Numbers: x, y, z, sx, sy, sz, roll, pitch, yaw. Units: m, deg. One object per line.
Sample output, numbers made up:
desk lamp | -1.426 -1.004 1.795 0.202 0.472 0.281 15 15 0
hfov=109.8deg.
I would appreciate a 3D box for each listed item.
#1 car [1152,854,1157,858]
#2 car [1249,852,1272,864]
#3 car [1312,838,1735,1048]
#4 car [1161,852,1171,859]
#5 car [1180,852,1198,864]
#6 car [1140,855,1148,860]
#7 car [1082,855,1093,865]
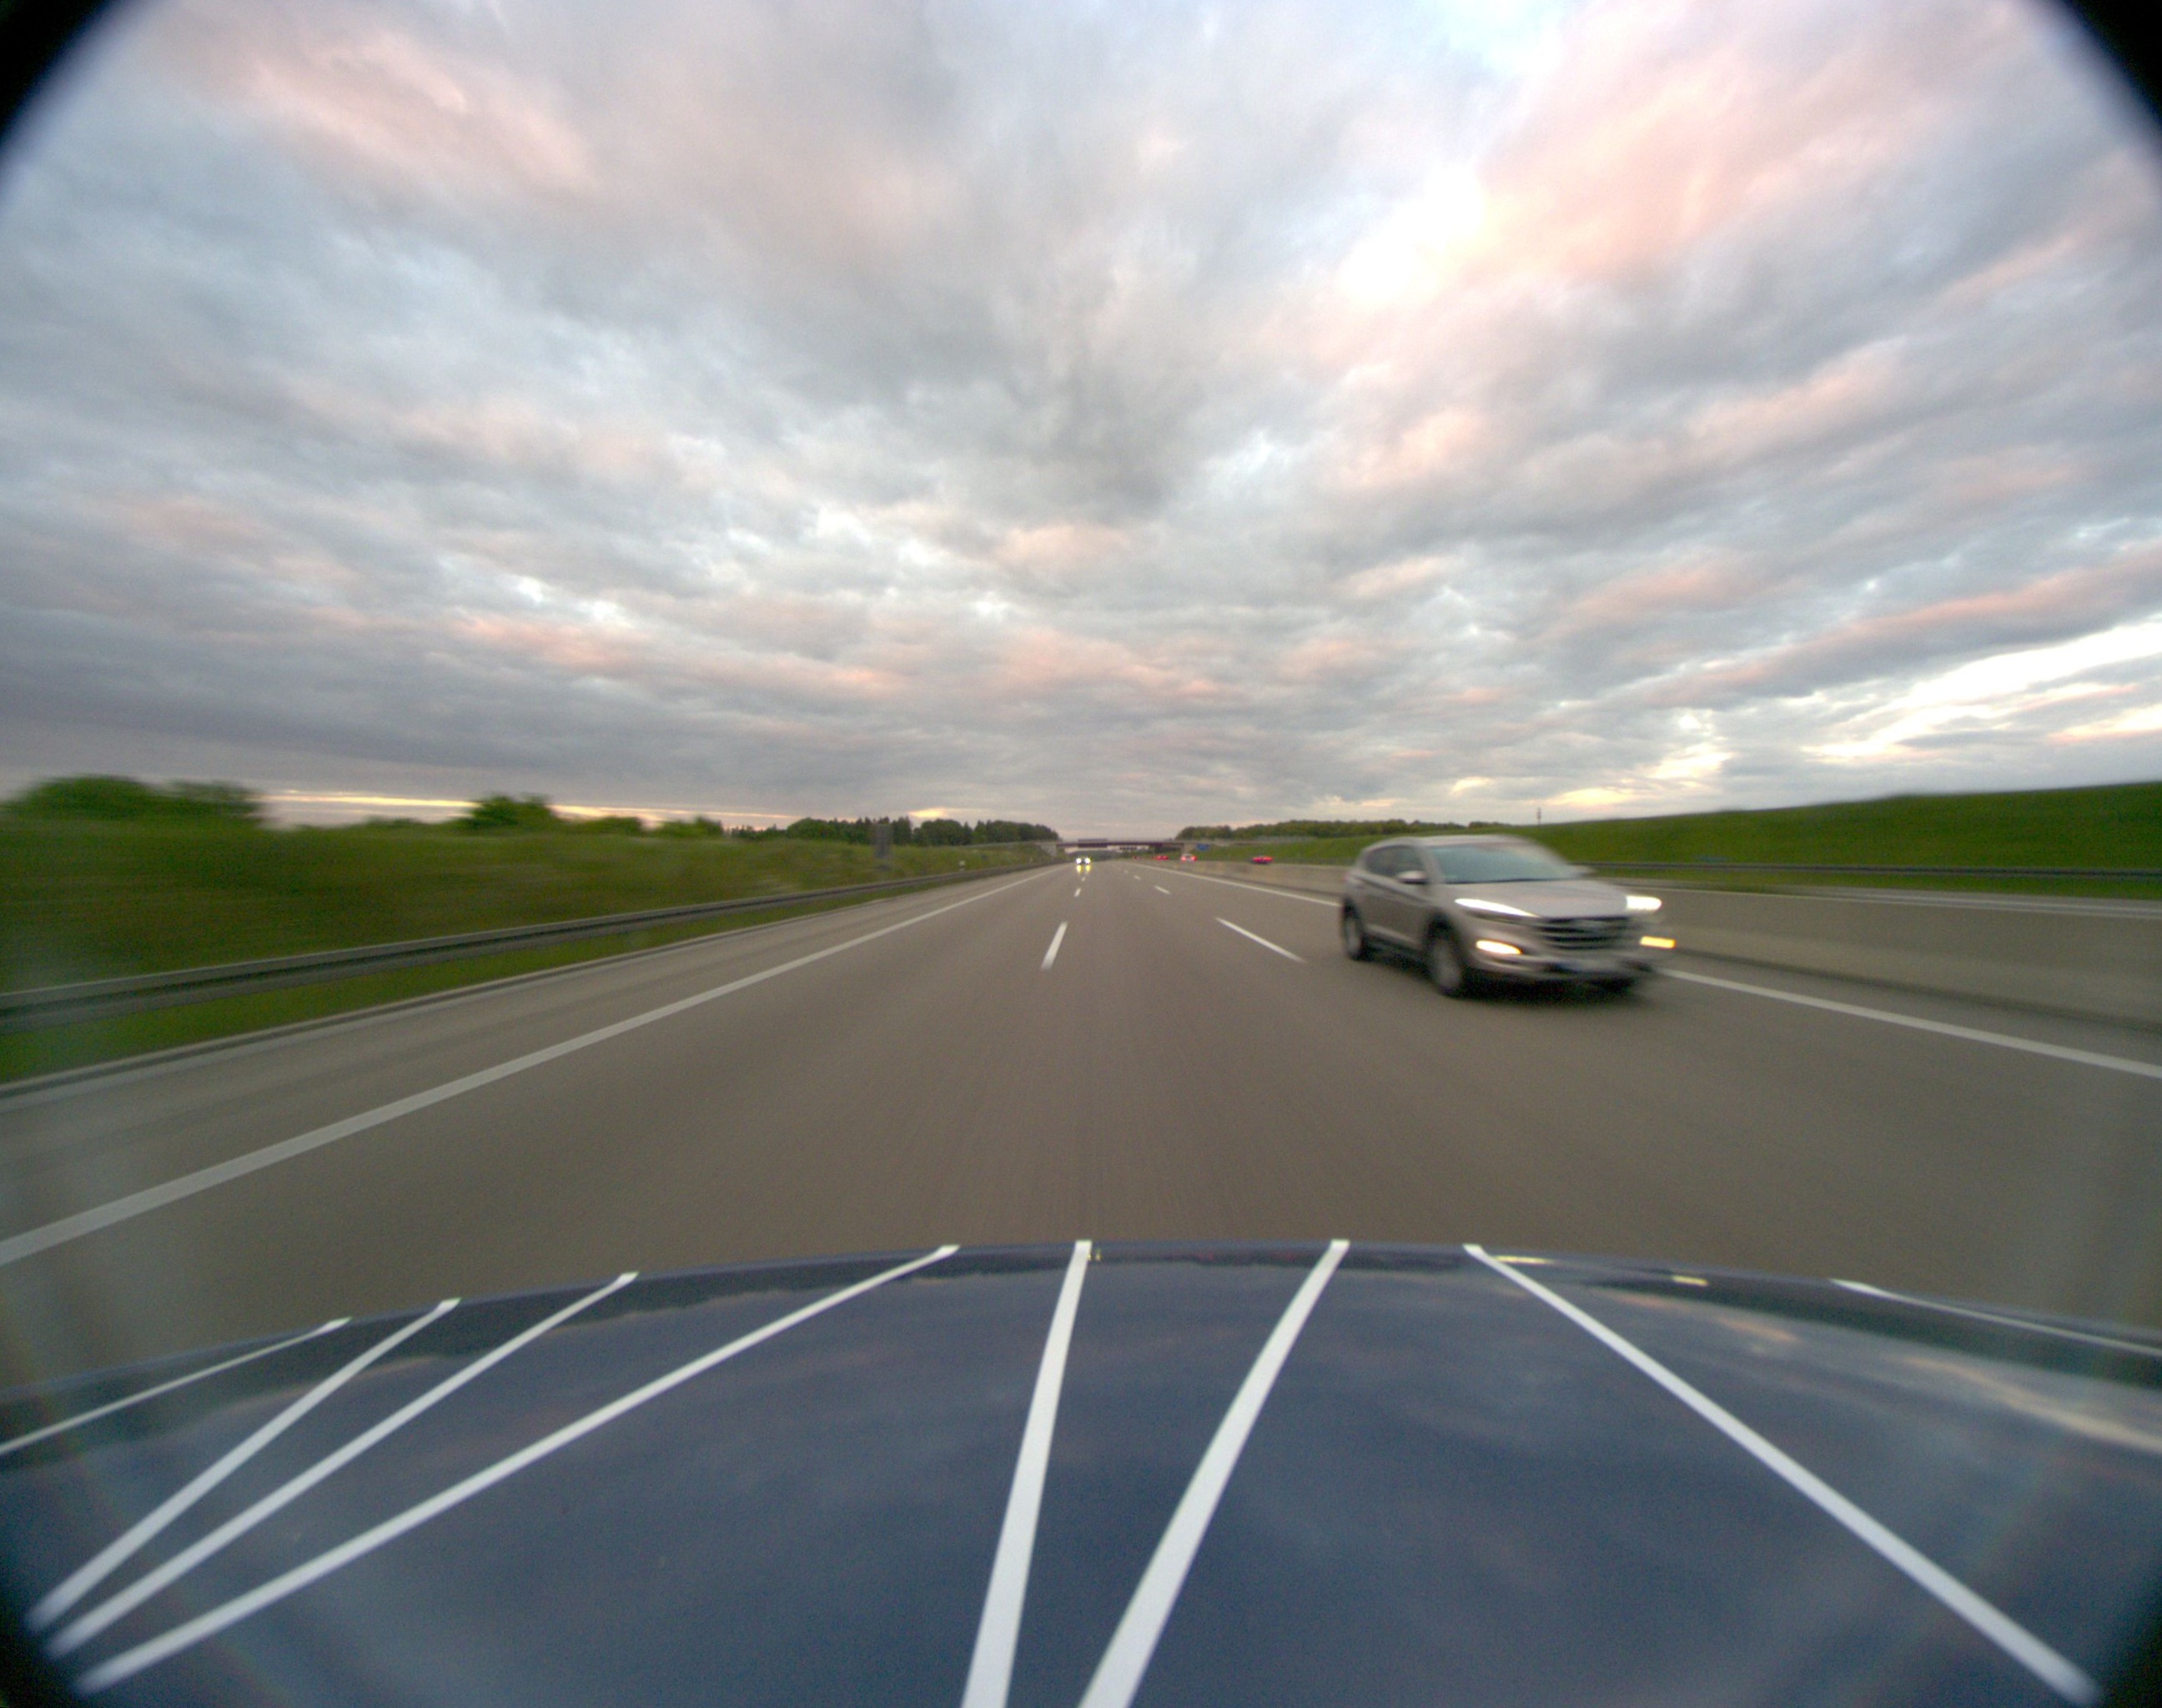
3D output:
car | 25.984 0.768 268.650 1.634 1.508 4.427 -2 0 1
car | 21.407 0.487 90.537 1.743 1.384 4.342 -1 0 1
car | 4.461 0.725 8.981 1.857 1.682 5.512 -1 0 1
car | 21.162 0.404 189.695 2.104 1.800 5.021 -1 0 2
car | 16.661 0.575 117.084 1.998 1.725 5.182 -1 0 0
car | 16.669 0.933 202.363 1.743 1.490 4.131 -1 0 1
car | 1.078 1.055 130.736 1.801 1.674 4.385 -1 1 1
